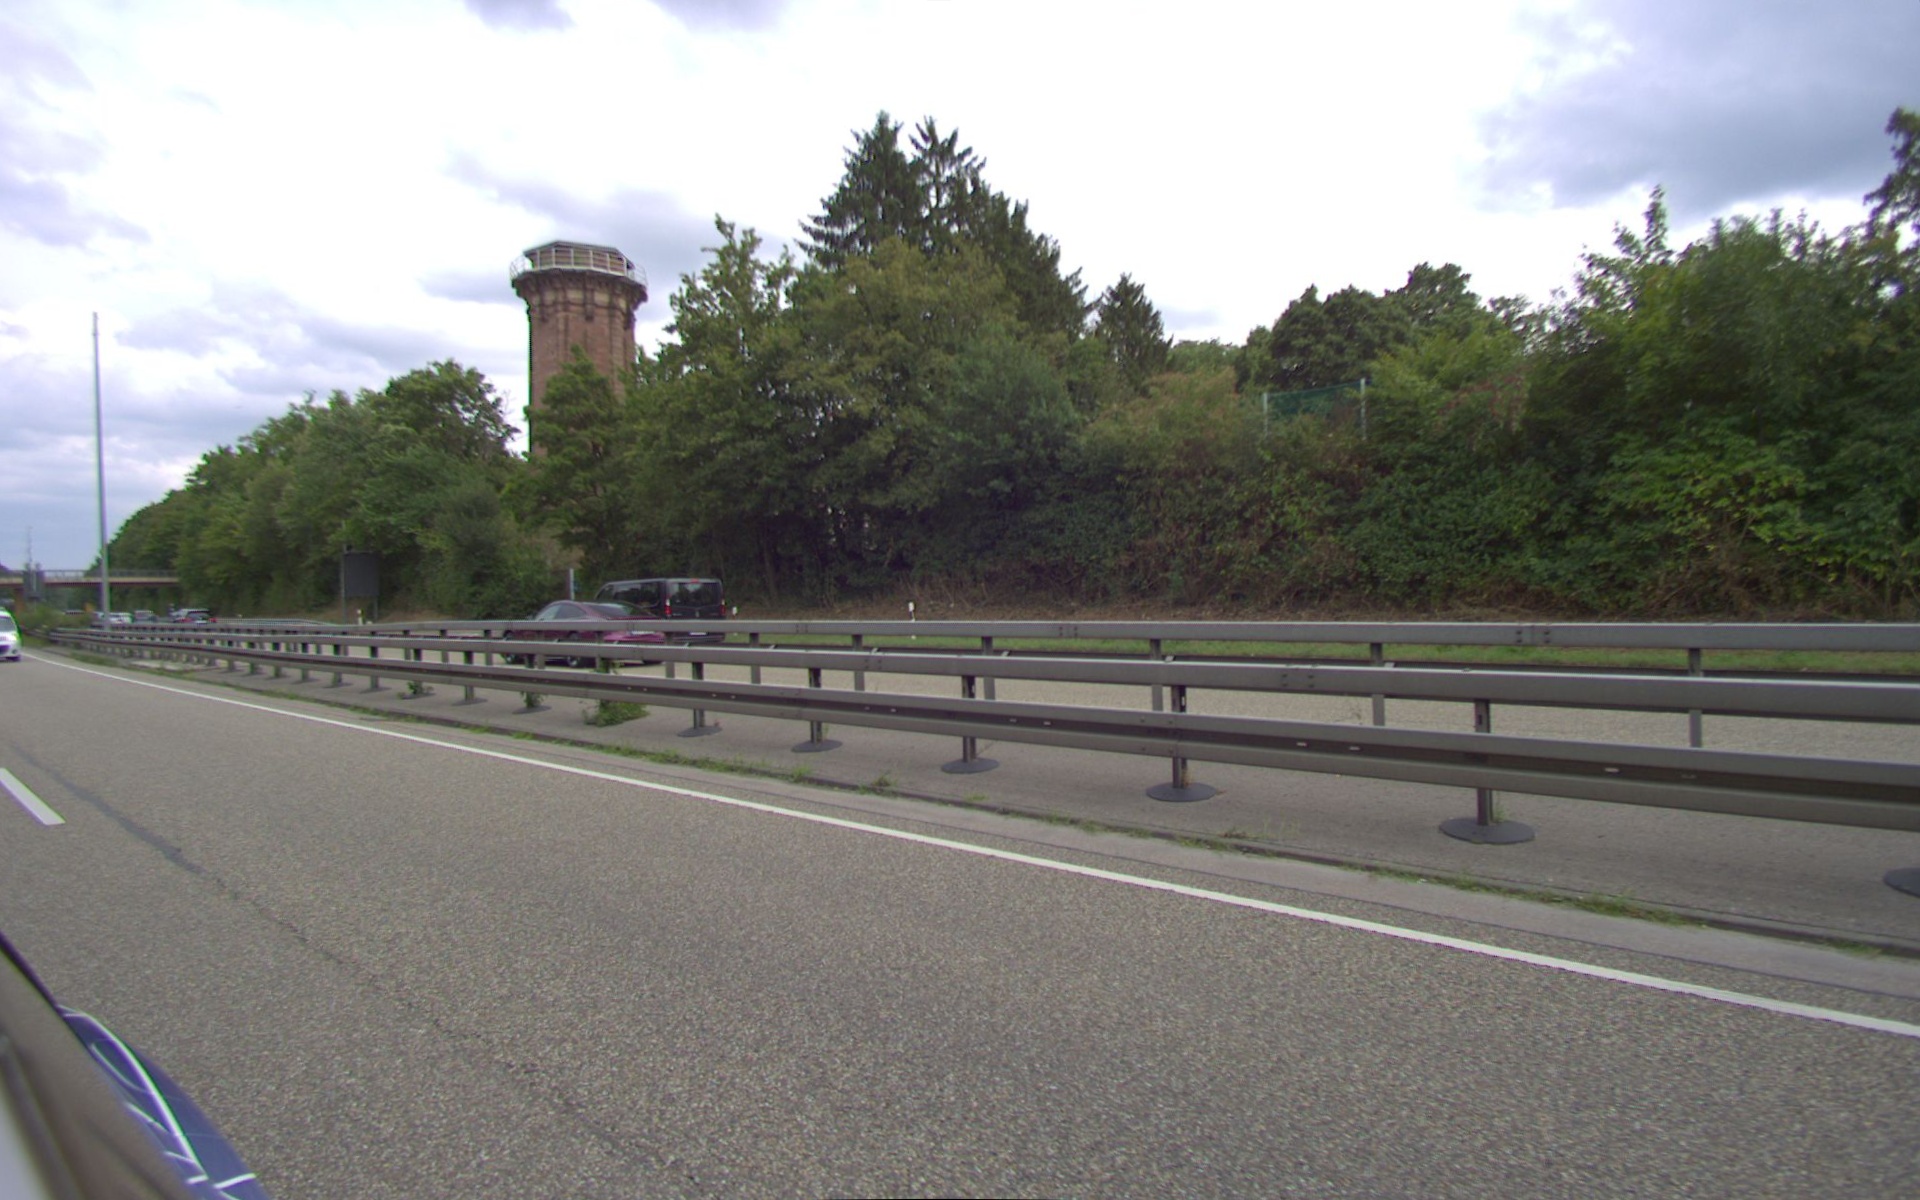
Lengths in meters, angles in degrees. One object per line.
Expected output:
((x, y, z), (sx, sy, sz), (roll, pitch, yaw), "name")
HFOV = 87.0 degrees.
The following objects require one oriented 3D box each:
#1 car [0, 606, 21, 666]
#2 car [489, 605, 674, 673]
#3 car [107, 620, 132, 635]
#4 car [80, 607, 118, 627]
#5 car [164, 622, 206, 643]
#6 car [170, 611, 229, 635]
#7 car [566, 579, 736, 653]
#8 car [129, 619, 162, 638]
((-34.262, 1.234, 35.256), (4.421, 2.020, 1.798), (-1, -1, 41), "car")
((-8.047, 0.764, 21.266), (4.711, 1.288, 1.637), (-1, -1, 42), "car")
((-88.192, 2.910, 106.191), (3.729, 1.519, 1.610), (-1, -1, 44), "car")
((-65.289, 1.302, 76.709), (4.056, 1.438, 1.693), (-1, -1, 42), "car")
((-57.719, 2.403, 75.374), (4.056, 1.461, 1.792), (-1, -1, 42), "car")
((-44.108, 1.301, 58.672), (4.066, 1.309, 1.957), (-1, -1, 41), "car")
((-8.377, 0.424, 27.186), (5.121, 1.817, 2.013), (-1, -1, 42), "car")
((-72.551, 2.554, 90.120), (4.131, 1.613, 1.712), (-1, -1, 43), "car")
